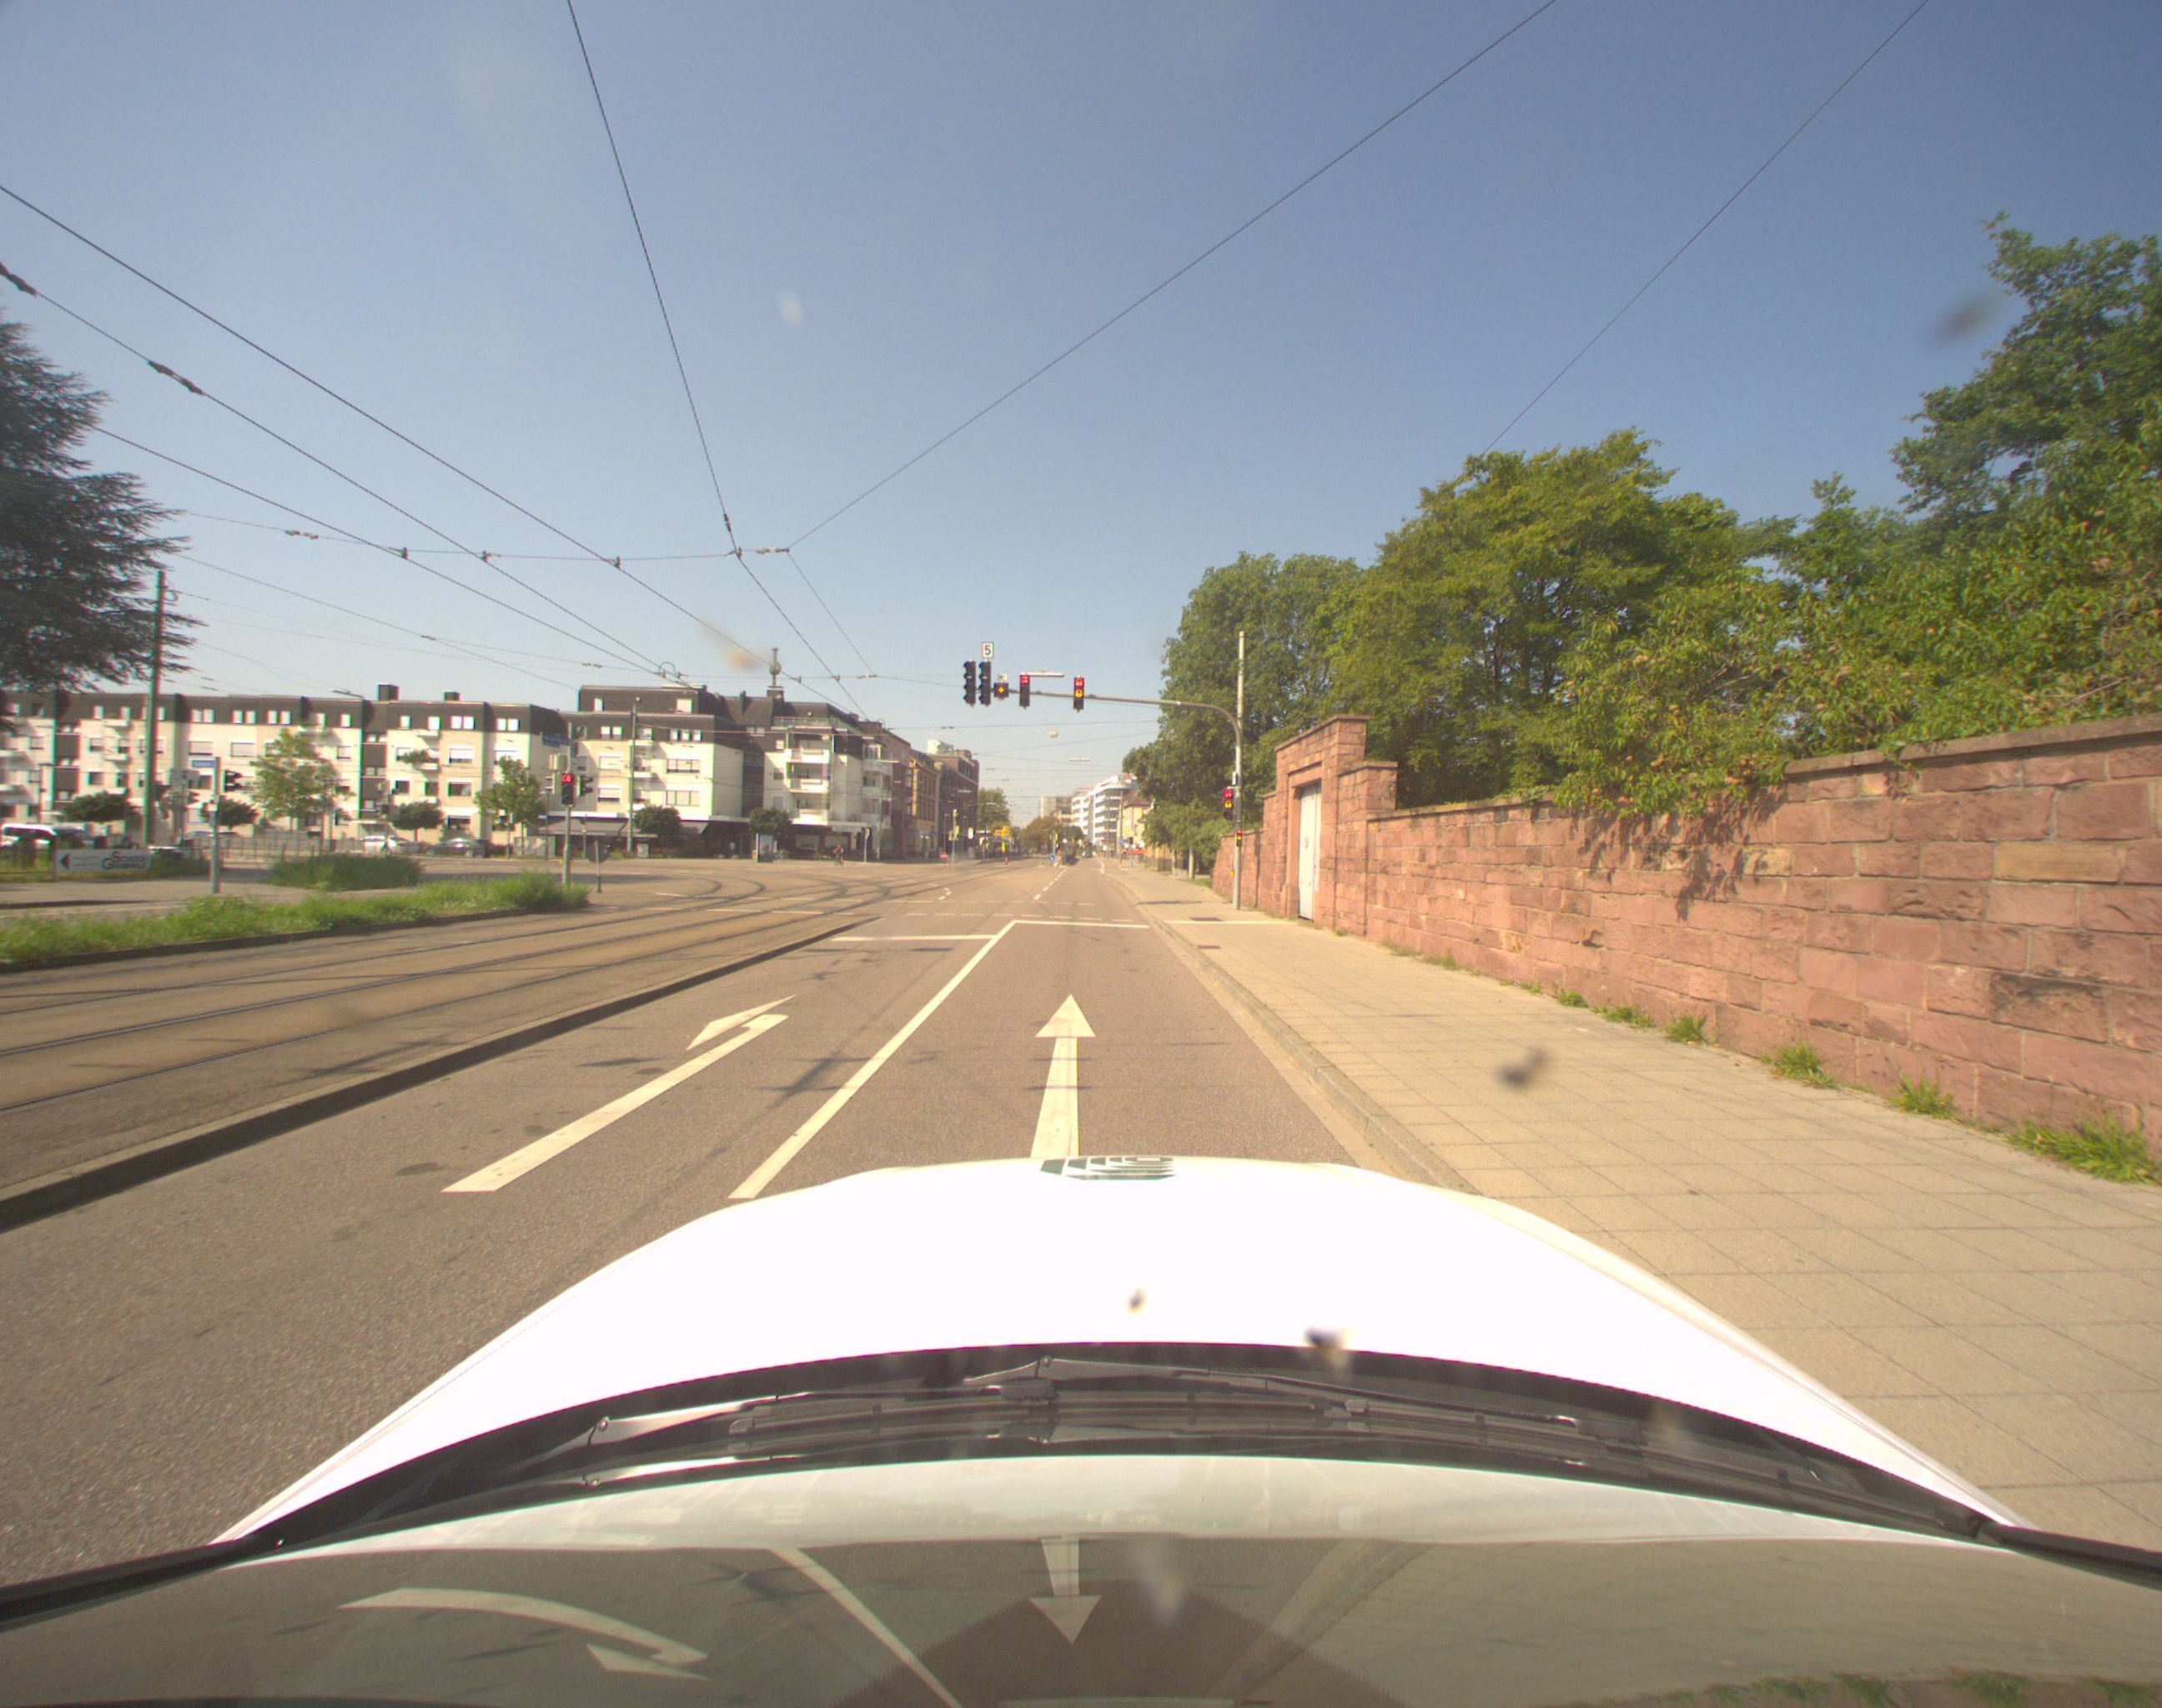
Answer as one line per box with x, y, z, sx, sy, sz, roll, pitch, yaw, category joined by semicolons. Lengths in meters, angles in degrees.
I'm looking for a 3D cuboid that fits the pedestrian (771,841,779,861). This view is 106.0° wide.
-26.180;-0.235;69.686;0.602;1.745;0.560;0;-1;-33;pedestrian

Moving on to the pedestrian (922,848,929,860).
-20.356;-0.043;106.390;0.480;1.560;0.890;2;-1;12;pedestrian

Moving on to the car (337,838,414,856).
-51.313;-0.522;59.316;4.096;1.299;1.673;0;0;-1;car

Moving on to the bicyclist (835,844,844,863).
-18.845;-0.038;63.530;0.566;1.523;0.490;0;0;2;bicyclist

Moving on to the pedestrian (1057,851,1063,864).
-2.645;0.423;103.618;0.717;1.703;0.884;0;0;1;pedestrian

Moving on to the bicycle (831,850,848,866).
-18.841;0.311;63.598;0.573;1.179;2.209;0;0;3;bicycle

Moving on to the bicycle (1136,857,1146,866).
8.036;0.976;108.754;0.730;1.132;2.833;-2;0;-6;bicycle

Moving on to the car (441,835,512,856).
-48.474;-0.673;65.338;4.096;1.507;1.930;3;0;-1;car

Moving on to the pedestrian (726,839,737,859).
-31.107;-0.450;72.459;0.677;1.741;0.698;0;0;1;pedestrian

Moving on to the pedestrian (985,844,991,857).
-12.240;-0.459;107.164;0.705;1.723;0.799;0;0;1;pedestrian

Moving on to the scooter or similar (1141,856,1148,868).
5.995;0.776;76.688;0.521;1.133;1.511;0;0;1;scooter or similar

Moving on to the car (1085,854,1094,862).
2.129;0.970;198.264;2.004;1.859;4.002;0;0;2;car

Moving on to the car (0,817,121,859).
-50.462;-0.770;40.175;3.998;1.886;1.824;2;0;2;car

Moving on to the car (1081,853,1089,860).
1.065;0.662;204.446;2.004;1.859;4.002;0;0;2;car
